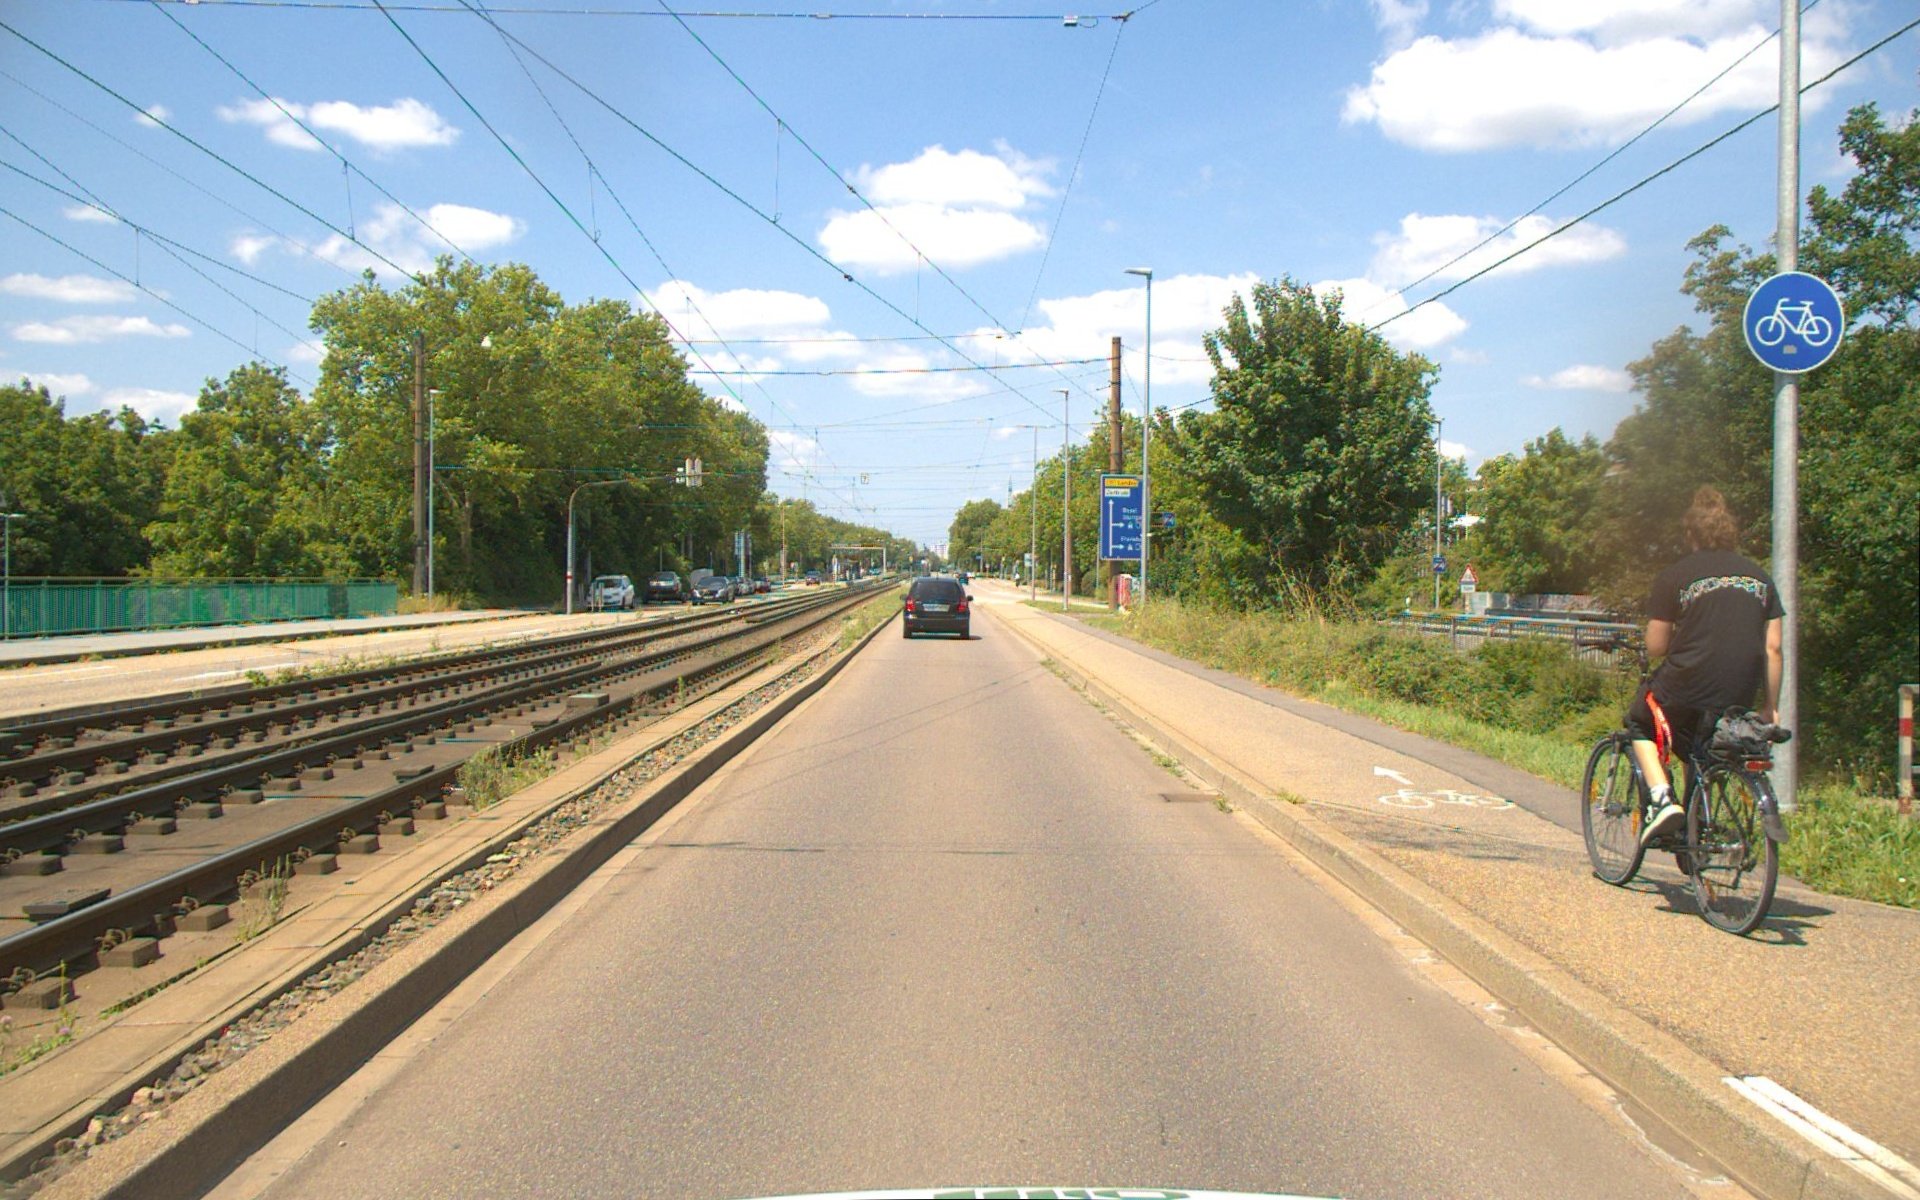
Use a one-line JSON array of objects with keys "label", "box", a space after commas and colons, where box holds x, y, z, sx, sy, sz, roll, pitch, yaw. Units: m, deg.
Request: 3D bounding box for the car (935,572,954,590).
[{"label": "car", "box": [-1.649, -2.074, 177.821, 1.846, 1.668, 4.001, 4, 2, 0]}]

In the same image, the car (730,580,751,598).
[{"label": "car", "box": [-18.340, -0.931, 138.414, 1.405, 1.476, 3.739, 1, 1, -3]}]

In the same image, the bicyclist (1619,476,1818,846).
[{"label": "bicyclist", "box": [3.256, 0.244, 7.144, 0.573, 1.521, 0.558, 2, 2, 4]}]

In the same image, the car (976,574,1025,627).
[{"label": "car", "box": [1.693, -0.024, 69.802, 1.953, 2.048, 4.001, 2, 2, 0]}]

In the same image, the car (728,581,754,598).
[{"label": "car", "box": [-19.006, -0.900, 143.778, 1.833, 1.425, 4.416, 1, 1, -3]}]

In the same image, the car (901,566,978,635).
[{"label": "car", "box": [-0.499, -0.042, 43.935, 1.815, 1.597, 4.390, 1, 3, 2]}]

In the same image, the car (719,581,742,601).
[{"label": "car", "box": [-18.386, -0.732, 132.642, 1.405, 1.476, 3.919, 1, 1, -3]}]

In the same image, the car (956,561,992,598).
[{"label": "car", "box": [0.815, -1.265, 100.102, 1.953, 2.048, 4.000, 1, 2, -2]}]

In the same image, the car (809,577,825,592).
[{"label": "car", "box": [-19.629, -2.174, 227.194, 1.953, 2.049, 4.000, -1, 1, -1]}]

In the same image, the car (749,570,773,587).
[{"label": "car", "box": [-19.592, -2.135, 162.596, 1.953, 1.601, 3.999, 1, 1, -1]}]

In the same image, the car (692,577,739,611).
[{"label": "car", "box": [-13.196, -0.342, 89.579, 1.837, 1.750, 5.329, 1, 1, -1]}]

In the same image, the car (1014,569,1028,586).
[{"label": "car", "box": [7.641, -2.821, 207.728, 1.580, 2.048, 3.439, 1, 2, -1]}]

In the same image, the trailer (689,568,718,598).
[{"label": "trailer", "box": [-18.160, -1.203, 117.216, 1.578, 2.048, 3.913, 2, 1, -4]}]

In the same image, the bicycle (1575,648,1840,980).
[{"label": "bicycle", "box": [3.255, 0.861, 7.375, 0.423, 1.172, 1.856, 2, 2, 4]}]

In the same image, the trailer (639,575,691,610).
[{"label": "trailer", "box": [-17.214, -0.472, 96.797, 2.413, 1.921, 5.956, 1, 1, -5]}]

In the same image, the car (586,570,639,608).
[{"label": "car", "box": [-17.016, -0.574, 81.071, 1.685, 1.659, 4.615, -2, 2, -2]}]

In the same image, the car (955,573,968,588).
[{"label": "car", "box": [0.168, -2.798, 241.299, 1.750, 2.048, 4.000, 1, 2, -1]}]
